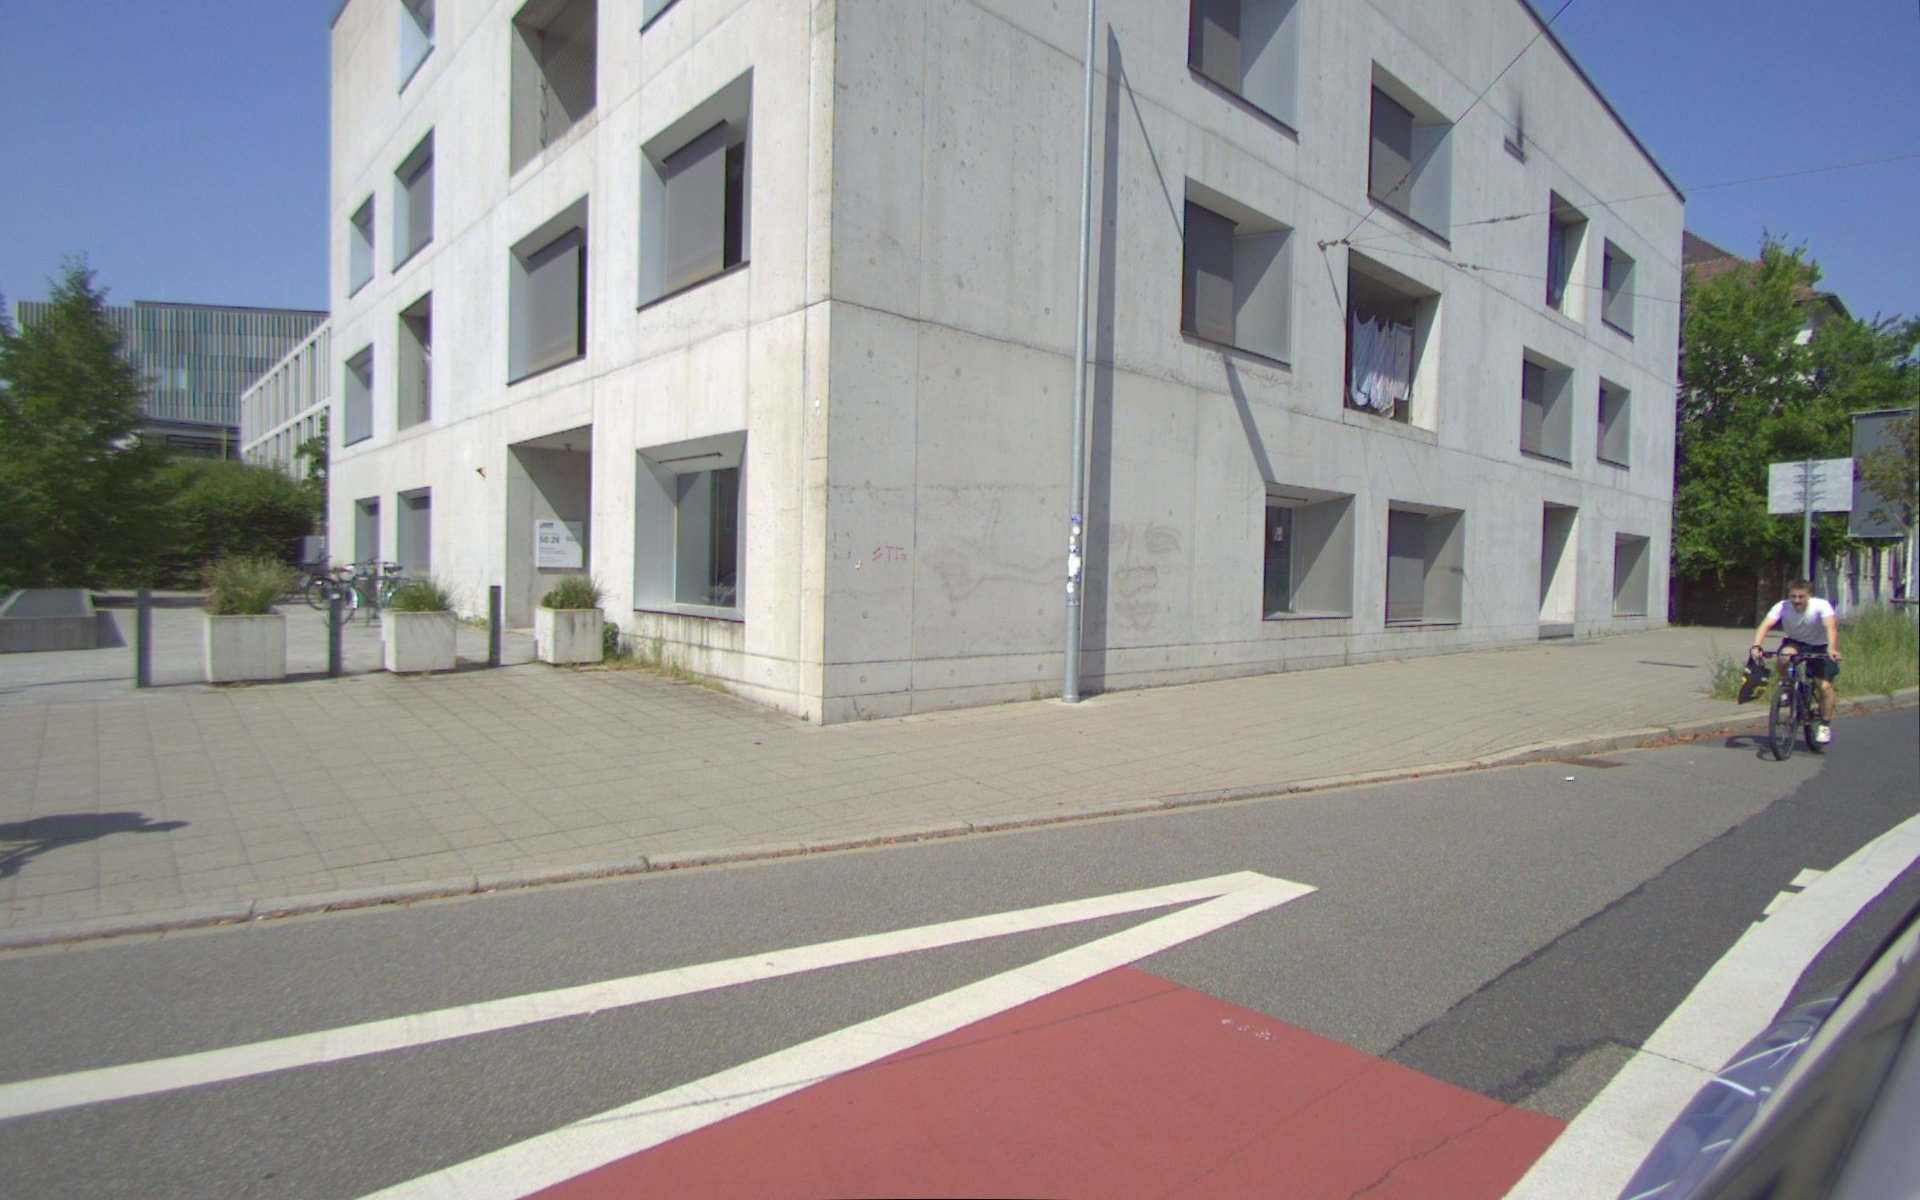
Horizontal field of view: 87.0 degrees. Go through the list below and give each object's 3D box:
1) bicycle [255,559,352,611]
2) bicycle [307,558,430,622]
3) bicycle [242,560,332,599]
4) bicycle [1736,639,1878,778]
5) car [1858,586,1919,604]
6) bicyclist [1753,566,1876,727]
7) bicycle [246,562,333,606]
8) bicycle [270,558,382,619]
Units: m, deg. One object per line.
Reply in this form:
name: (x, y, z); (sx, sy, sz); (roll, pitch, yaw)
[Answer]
bicycle: (-13.358, -0.303, 20.642); (1.633, 1.012, 0.616); (0, 2, -32)
bicycle: (-9.622, -0.185, 16.483); (1.653, 0.966, 0.620); (-3, 3, -36)
bicycle: (-15.652, -0.482, 23.577); (0.512, 0.884, 1.683); (3, 3, 42)
bicycle: (8.075, 0.961, 9.609); (2.195, 1.062, 0.740); (0, 2, -43)
car: (80.127, -0.444, 86.900); (1.933, 1.461, 4.010); (1, 2, -20)
bicyclist: (8.135, 0.405, 9.628); (0.945, 1.429, 0.746); (0, 1, -42)
bicycle: (-15.194, -0.367, 22.955); (1.600, 0.948, 0.456); (-1, 3, -44)
bicycle: (-11.148, -0.194, 17.835); (1.633, 1.012, 0.617); (1, 3, -32)
